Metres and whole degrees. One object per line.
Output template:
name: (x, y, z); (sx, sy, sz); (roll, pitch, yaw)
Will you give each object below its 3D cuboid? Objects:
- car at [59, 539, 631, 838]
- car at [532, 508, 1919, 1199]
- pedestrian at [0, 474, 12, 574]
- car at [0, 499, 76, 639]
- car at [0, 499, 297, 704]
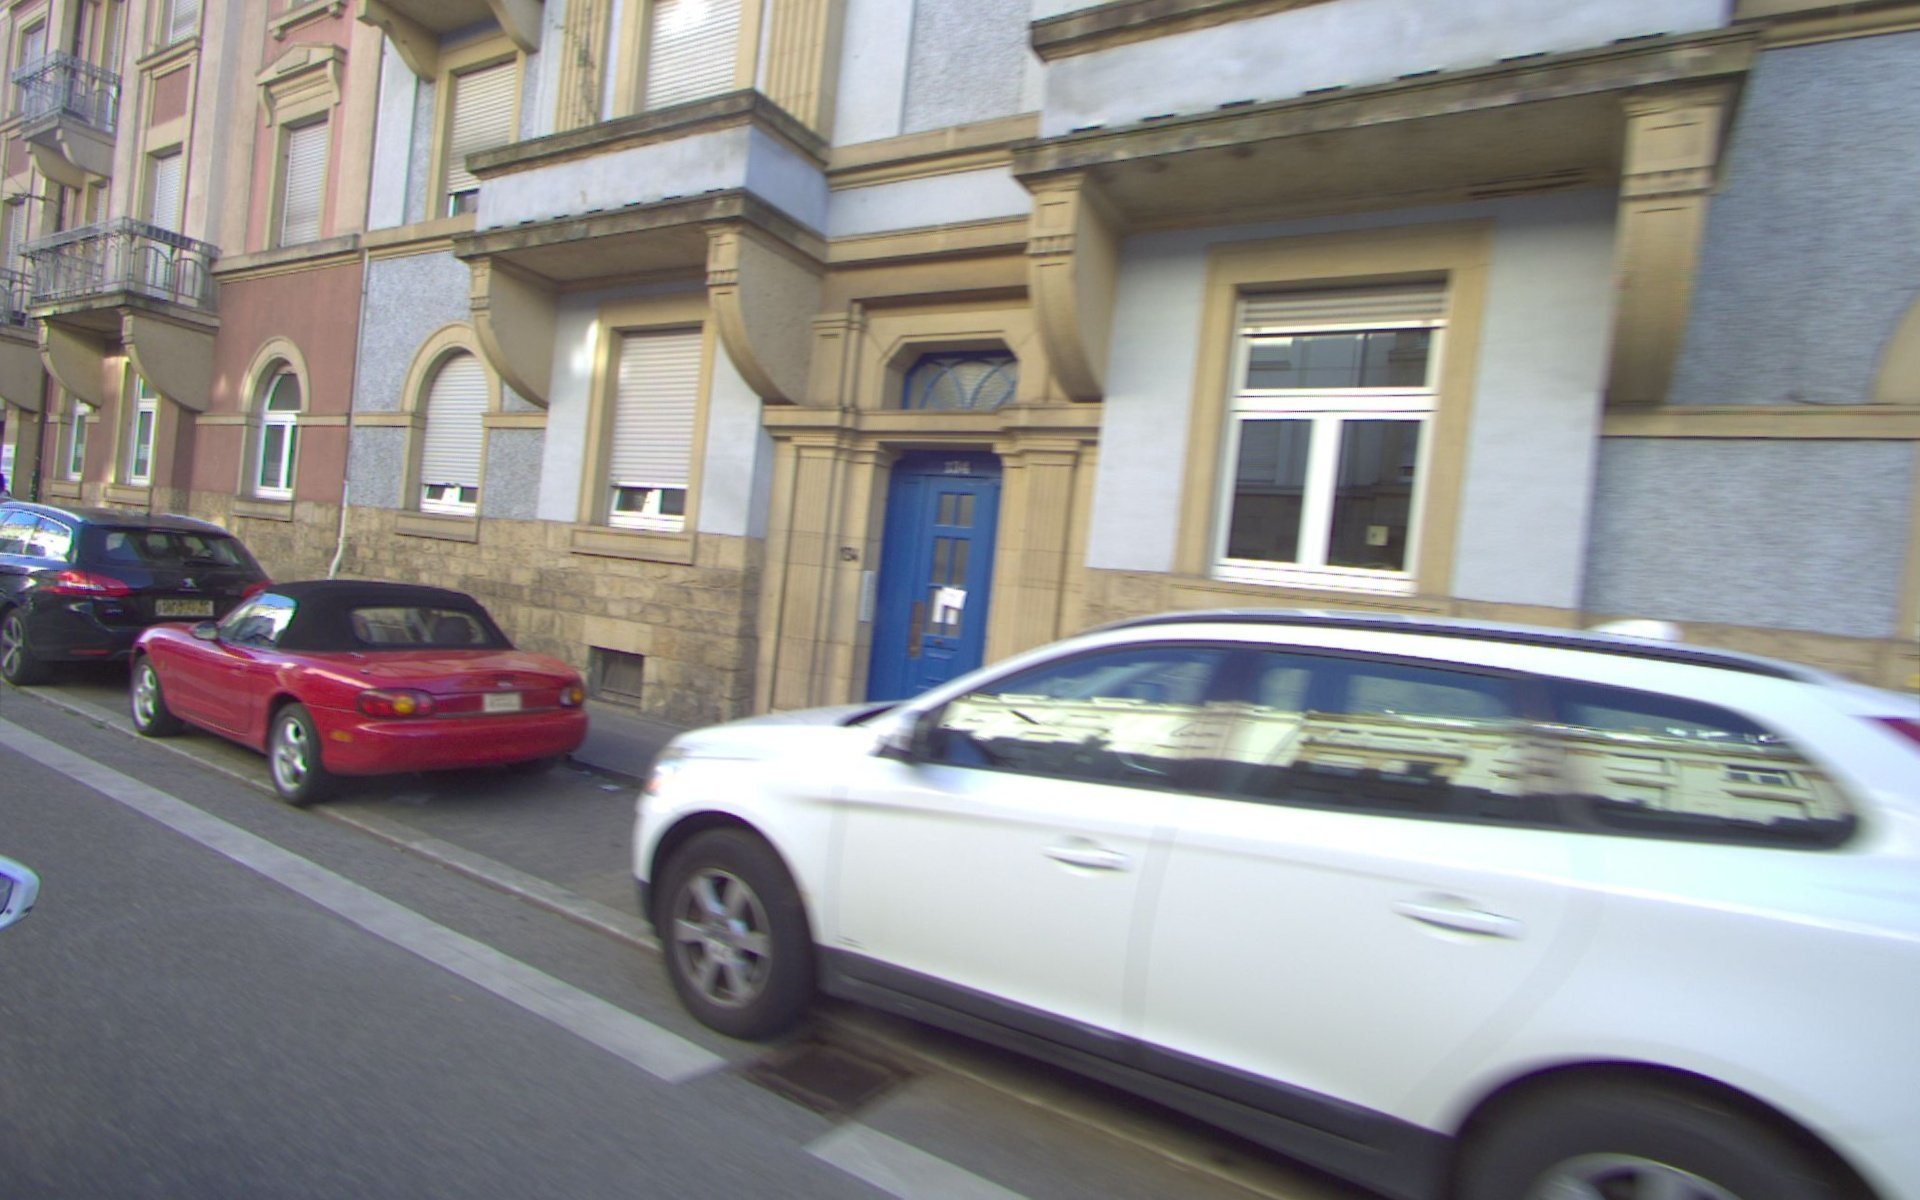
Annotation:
car: (-4.438, 0.427, 6.994); (4.433, 1.264, 1.655); (6, 0, 34)
car: (0.765, 0.763, 3.513); (4.430, 1.712, 1.845); (6, 0, 32)
pedestrian: (-16.751, -1.333, 17.260); (0.440, 1.708, 0.513); (7, 1, 31)
car: (-12.621, -0.570, 12.137); (4.400, 1.532, 1.656); (6, 0, 32)
car: (-8.317, -0.116, 9.446); (4.399, 1.501, 1.656); (6, 0, 31)
